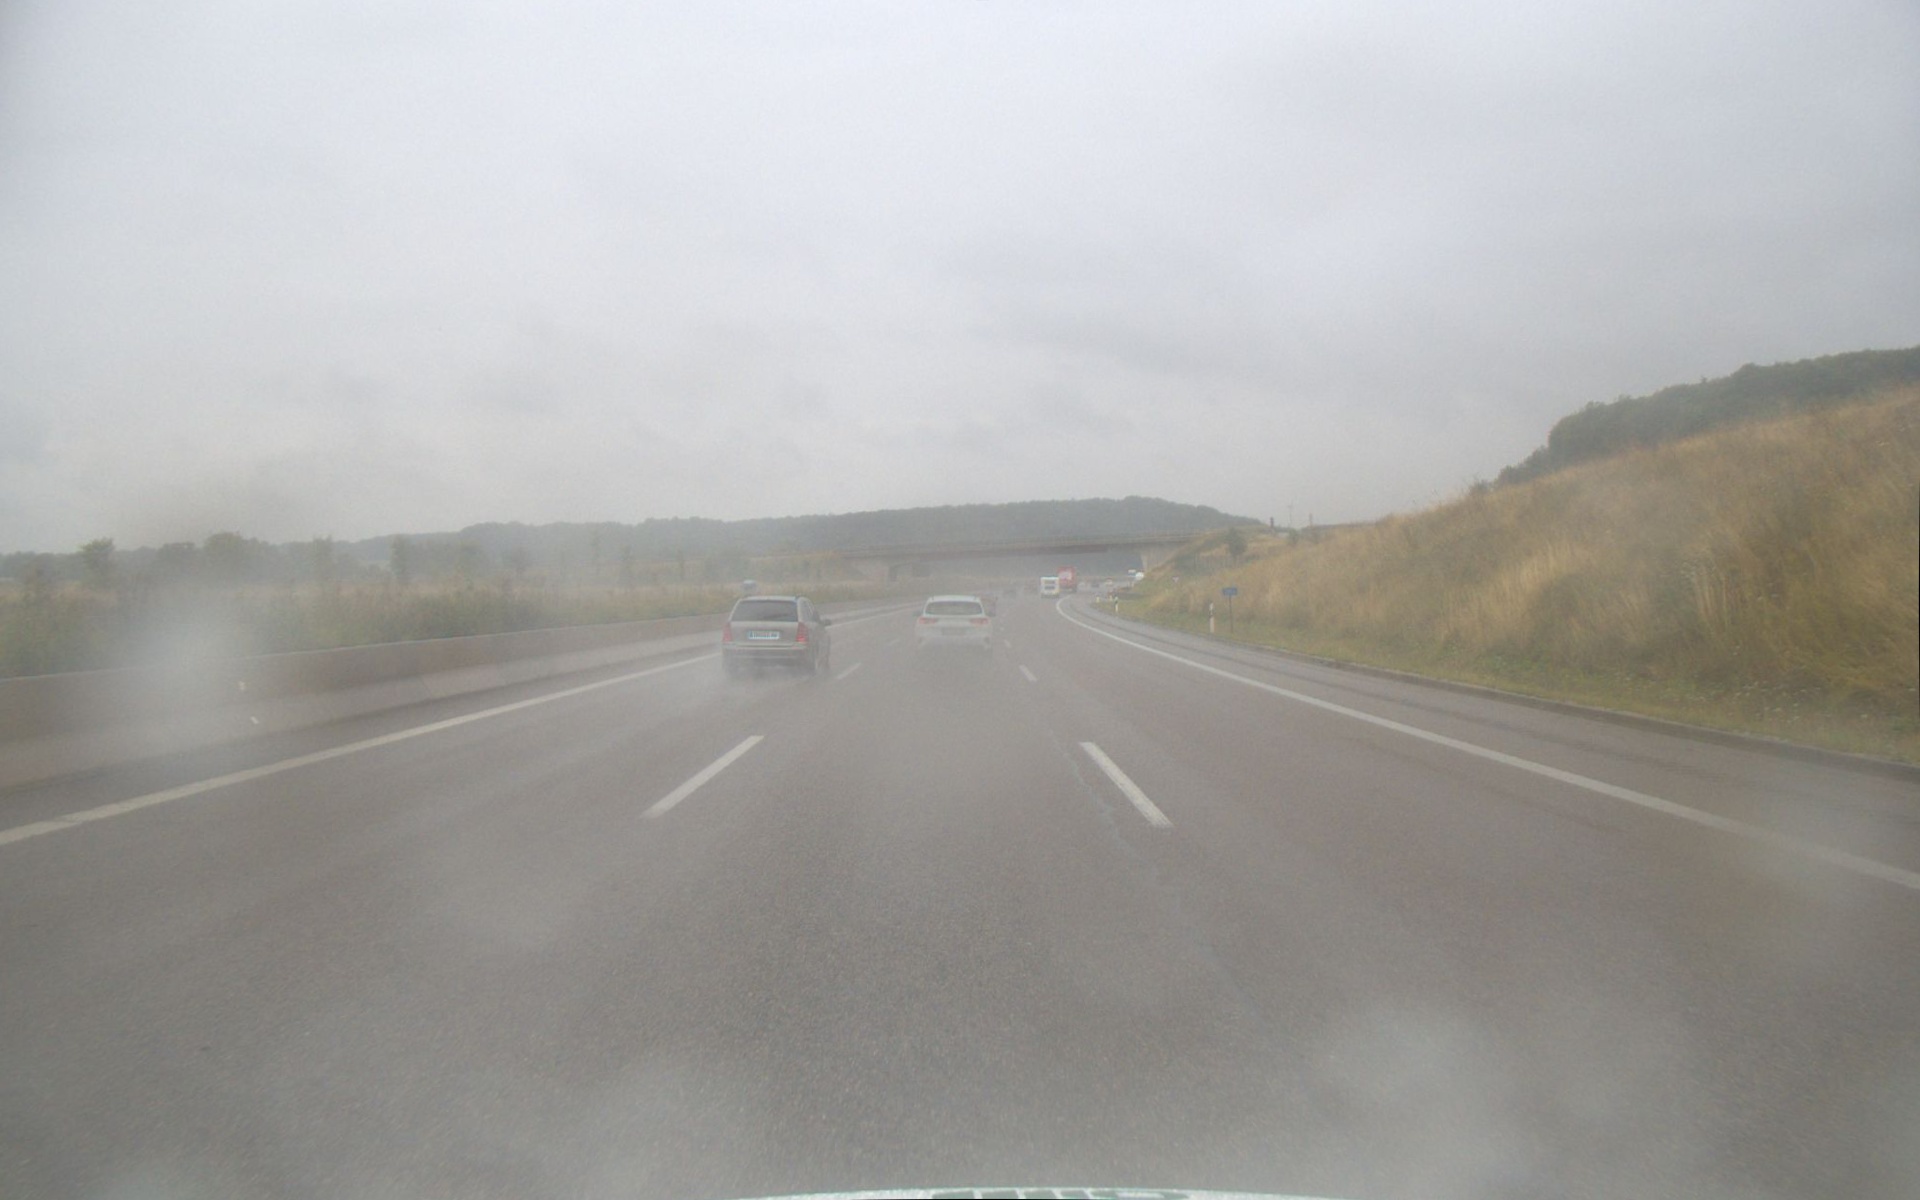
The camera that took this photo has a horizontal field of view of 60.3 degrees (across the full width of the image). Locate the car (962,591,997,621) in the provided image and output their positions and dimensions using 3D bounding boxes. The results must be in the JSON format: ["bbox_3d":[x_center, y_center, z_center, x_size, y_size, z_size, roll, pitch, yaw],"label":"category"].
[{"bbox_3d":[1.155,0.337,96.284,1.952,1.646,4.001,0,1,1],"label":"car"}]

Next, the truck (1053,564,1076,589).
[{"bbox_3d":[16.469,-3.775,260.274,3.453,3.808,11.433,1,2,4],"label":"truck"}]

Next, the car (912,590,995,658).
[{"bbox_3d":[-0.188,0.518,38.247,1.830,1.488,3.999,0,0,-2],"label":"car"}]

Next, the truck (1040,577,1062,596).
[{"bbox_3d":[11.326,-1.713,204.599,2.356,2.291,4.697,0,1,7],"label":"truck"}]

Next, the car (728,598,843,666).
[{"bbox_3d":[-3.234,0.579,31.341,1.787,1.176,4.212,1,0,-1],"label":"car"}]
